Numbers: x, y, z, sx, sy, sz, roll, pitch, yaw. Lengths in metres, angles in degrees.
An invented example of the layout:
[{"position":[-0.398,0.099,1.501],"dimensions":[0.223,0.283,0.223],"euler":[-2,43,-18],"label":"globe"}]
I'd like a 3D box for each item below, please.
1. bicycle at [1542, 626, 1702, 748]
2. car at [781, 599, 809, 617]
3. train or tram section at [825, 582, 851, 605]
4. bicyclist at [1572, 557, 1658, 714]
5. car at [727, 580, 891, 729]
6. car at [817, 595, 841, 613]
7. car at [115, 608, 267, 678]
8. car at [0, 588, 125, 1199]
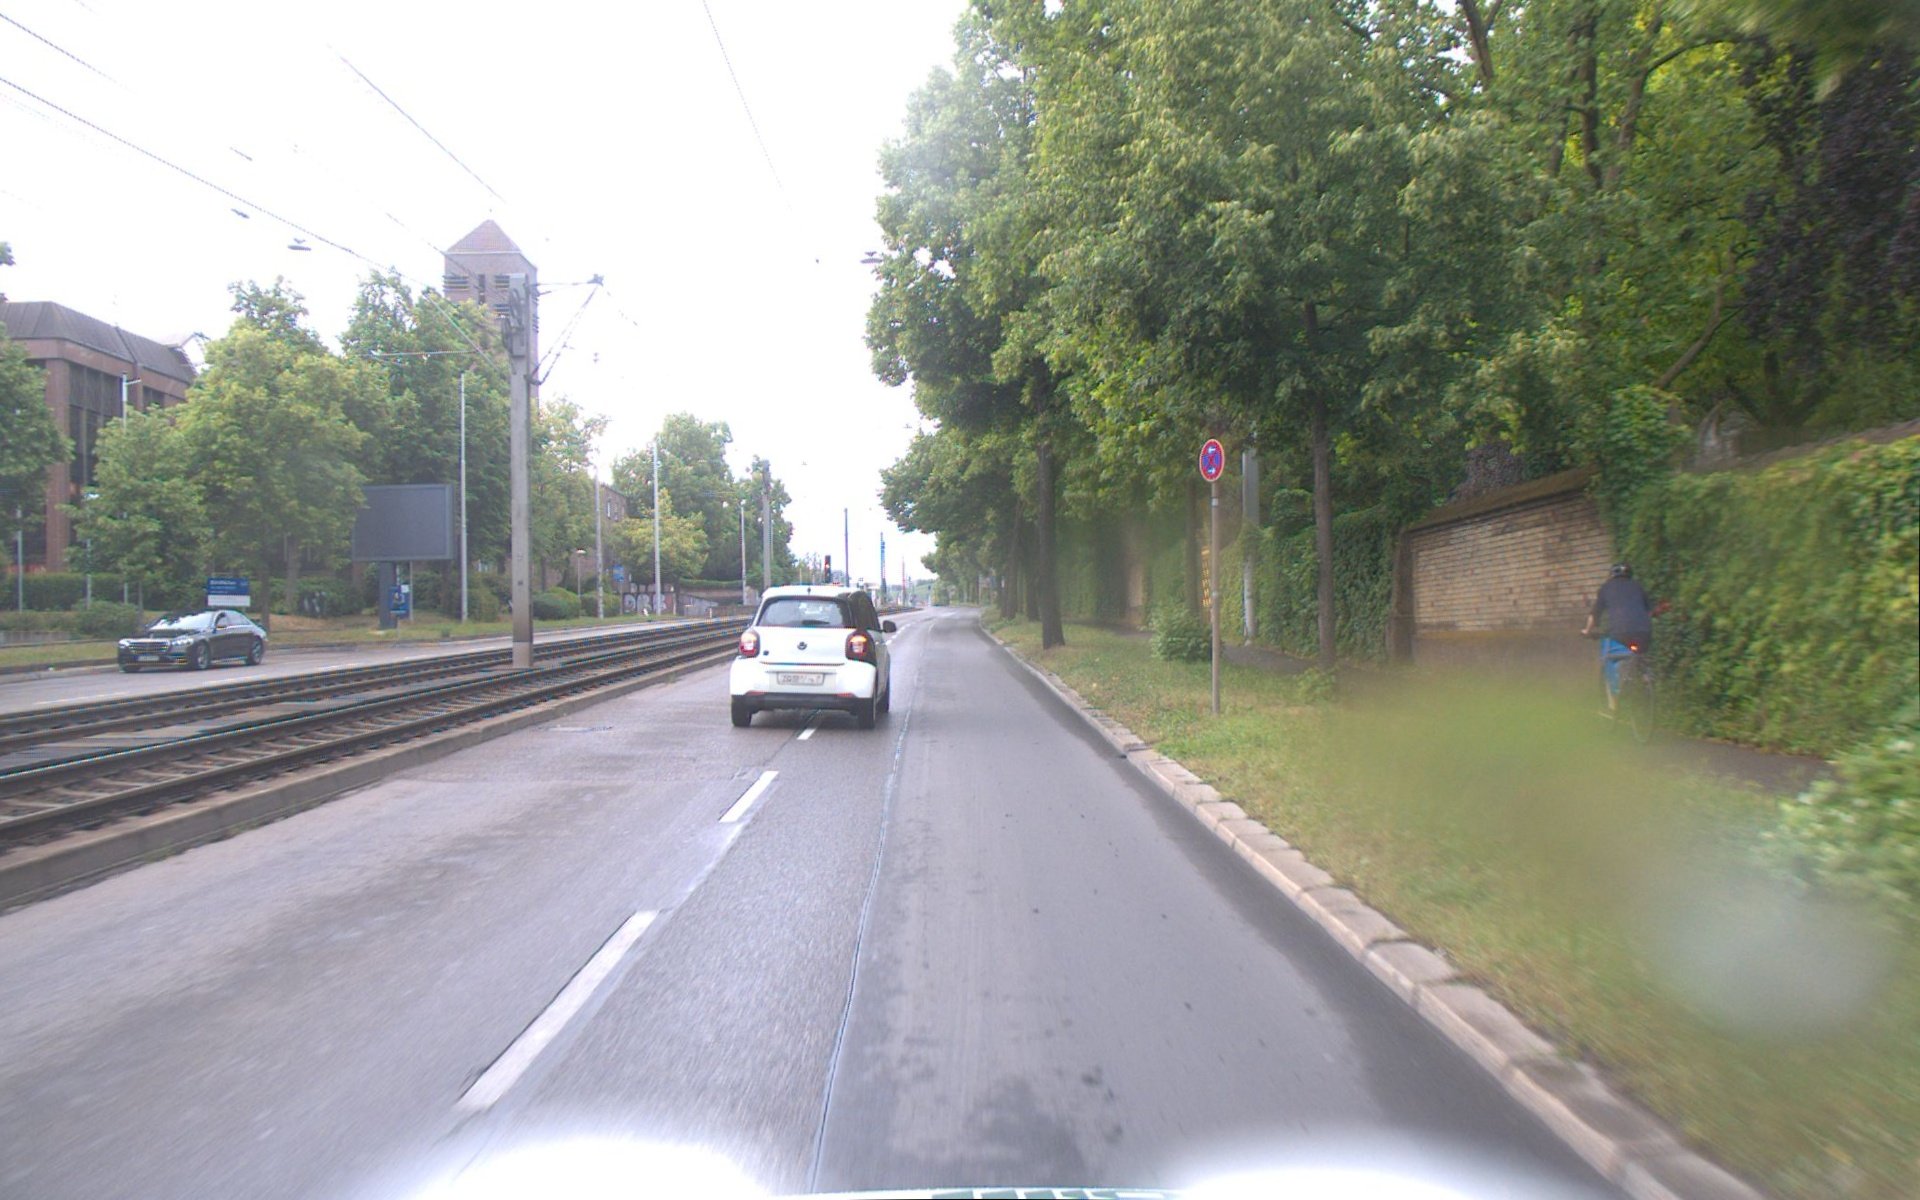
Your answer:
[{"position":[6.066,0.756,15.306],"dimensions":[0.531,0.964,2.550],"euler":[-1,0,2],"label":"bicycle"},{"position":[-16.150,0.748,162.321],"dimensions":[1.971,1.685,4.619],"euler":[-1,0,3],"label":"car"},{"position":[-19.218,-1.012,260.089],"dimensions":[2.784,3.668,9.238],"euler":[0,0,-13],"label":"train or tram section"},{"position":[6.072,0.323,15.352],"dimensions":[0.524,1.414,0.666],"euler":[-1,0,2],"label":"bicyclist"},{"position":[-1.698,0.572,19.665],"dimensions":[1.642,1.557,3.721],"euler":[-2,0,-1],"label":"car"},{"position":[-12.966,0.372,164.109],"dimensions":[1.796,1.685,4.241],"euler":[-1,0,3],"label":"car"},{"position":[-19.228,1.039,41.578],"dimensions":[1.758,1.556,4.620],"euler":[-1,0,-2],"label":"car"},{"position":[-2.778,0.778,1.836],"dimensions":[1.758,1.511,3.963],"euler":[-2,1,-2],"label":"car"}]
